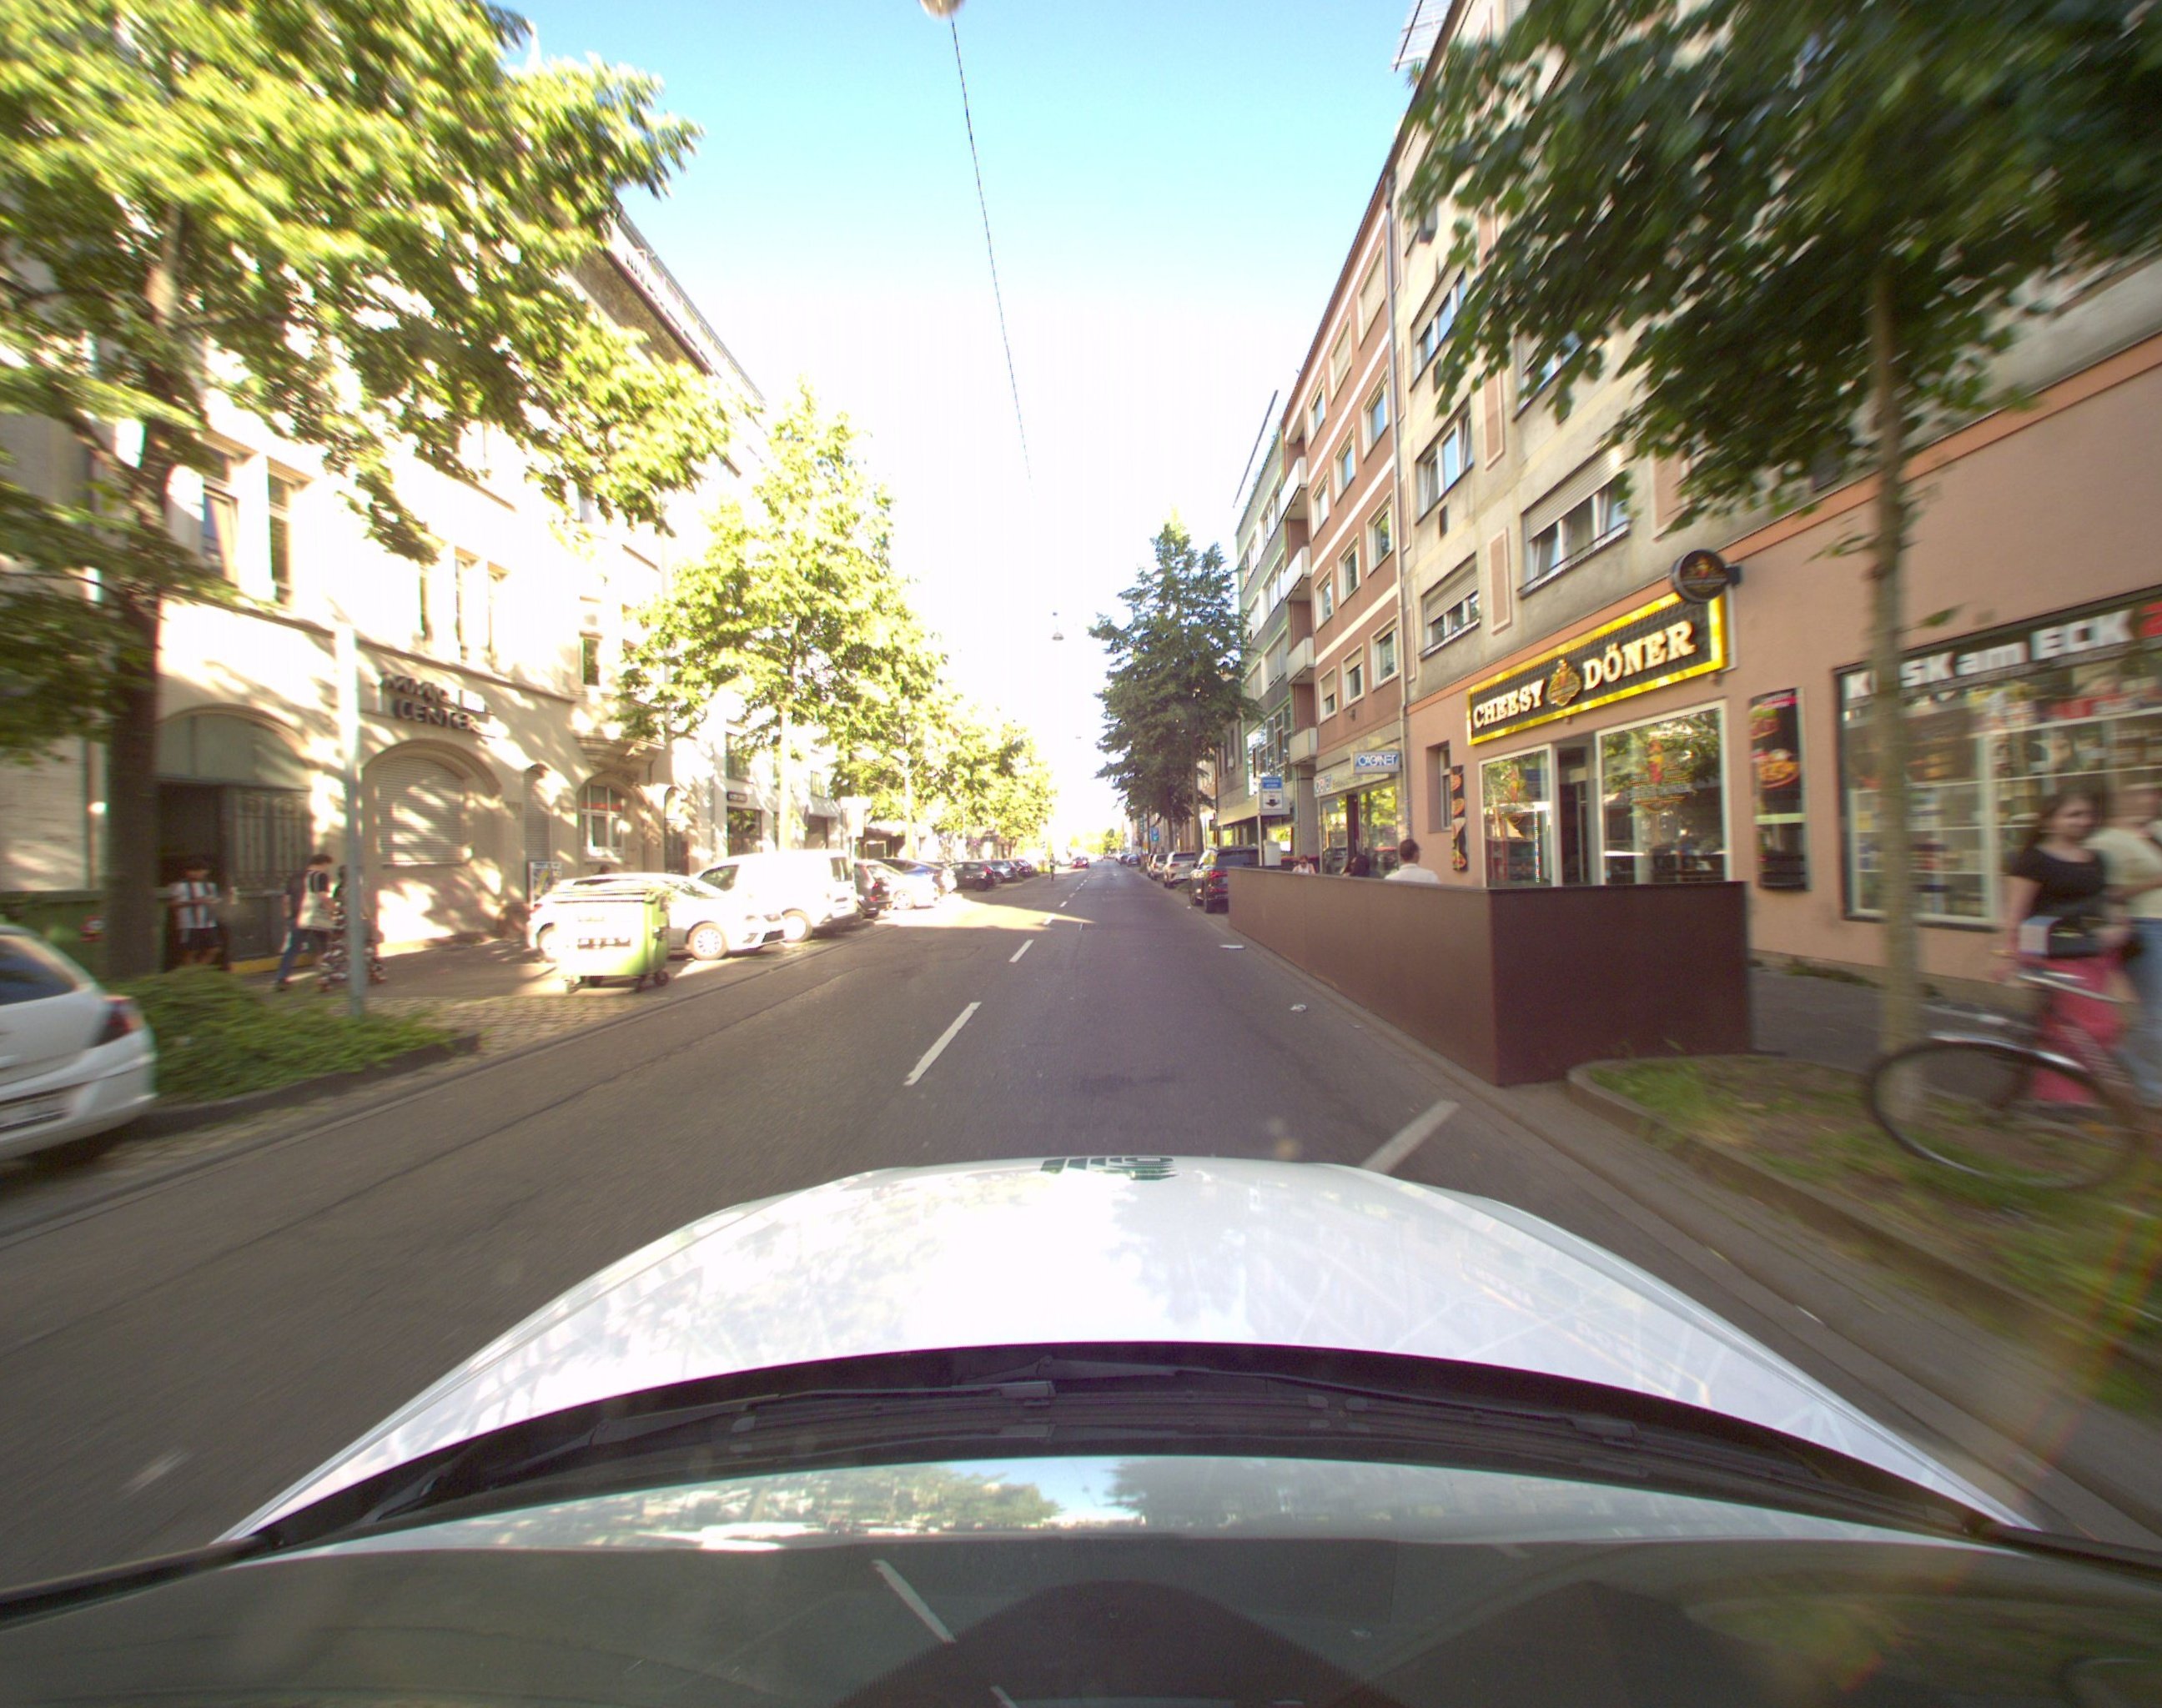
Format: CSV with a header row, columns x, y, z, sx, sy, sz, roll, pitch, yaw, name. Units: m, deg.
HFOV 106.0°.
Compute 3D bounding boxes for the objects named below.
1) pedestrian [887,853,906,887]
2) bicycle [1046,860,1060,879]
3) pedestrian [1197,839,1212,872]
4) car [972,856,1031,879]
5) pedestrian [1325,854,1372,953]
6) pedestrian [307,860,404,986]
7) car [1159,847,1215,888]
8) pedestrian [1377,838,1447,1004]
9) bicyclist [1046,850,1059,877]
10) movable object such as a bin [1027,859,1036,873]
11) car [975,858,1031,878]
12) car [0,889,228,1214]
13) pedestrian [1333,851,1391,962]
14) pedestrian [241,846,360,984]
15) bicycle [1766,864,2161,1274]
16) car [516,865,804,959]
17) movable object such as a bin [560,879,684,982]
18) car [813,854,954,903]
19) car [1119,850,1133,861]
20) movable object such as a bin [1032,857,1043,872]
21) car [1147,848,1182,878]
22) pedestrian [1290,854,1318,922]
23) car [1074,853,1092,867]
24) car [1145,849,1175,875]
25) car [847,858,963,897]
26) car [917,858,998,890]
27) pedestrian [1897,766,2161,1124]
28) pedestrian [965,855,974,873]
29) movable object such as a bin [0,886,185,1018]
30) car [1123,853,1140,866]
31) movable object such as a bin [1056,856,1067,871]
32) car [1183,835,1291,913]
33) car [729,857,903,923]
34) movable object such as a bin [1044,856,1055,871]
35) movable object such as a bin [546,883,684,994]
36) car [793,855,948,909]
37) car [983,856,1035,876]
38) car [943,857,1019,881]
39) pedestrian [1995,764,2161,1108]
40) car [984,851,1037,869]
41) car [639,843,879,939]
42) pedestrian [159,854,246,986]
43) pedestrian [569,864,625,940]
x,y,z,sx,sy,sz,roll,pitch,yaw,name
-9.782,0.844,43.157,0.694,1.797,0.748,-1,0,13,pedestrian
-1.841,0.991,53.480,0.722,1.169,2.198,-2,0,2,bicycle
6.850,0.082,45.205,0.620,1.765,0.771,-4,-1,3,pedestrian
-5.534,0.928,57.102,3.903,1.485,1.772,-1,0,3,car
3.776,0.684,11.525,0.471,1.362,0.595,-1,-1,2,pedestrian
-9.803,0.910,11.031,0.563,1.627,0.727,3,-1,0,pedestrian
4.494,0.557,35.125,1.876,1.527,4.235,-4,0,1,car
3.136,0.623,7.750,0.471,1.529,0.462,-1,-1,2,pedestrian
-1.851,0.627,53.401,0.722,1.700,1.283,-2,0,2,bicyclist
-4.699,1.159,77.288,0.752,1.341,0.805,-2,0,0,movable object such as a bin
-5.655,1.023,59.675,3.825,1.429,1.791,-1,0,3,car
-6.910,0.959,3.896,3.767,1.464,1.709,-1,0,-2,car
3.598,0.656,10.462,0.550,1.379,0.595,-1,-1,2,pedestrian
-10.548,0.801,11.036,0.772,1.766,0.763,3,-1,0,pedestrian
3.393,0.636,2.659,0.505,1.163,2.145,-2,0,1,bicycle
-7.120,0.953,14.084,3.964,1.464,1.888,-1,0,2,car
-6.423,1.048,11.465,1.188,1.345,0.932,-1,0,1,movable object such as a bin
-6.786,0.831,28.297,4.349,1.570,1.981,-1,0,2,car
6.797,0.200,122.965,1.966,1.725,4.826,0,0,2,car
-4.489,1.081,84.291,0.960,1.471,1.143,-2,-1,0,movable object such as a bin
4.827,0.506,47.641,1.608,1.528,4.235,-5,0,1,car
4.454,0.663,16.259,0.468,1.331,0.485,-1,-1,21,pedestrian
0.276,0.732,98.031,1.649,1.535,3.768,-3,0,7,car
5.154,0.523,53.443,1.608,1.529,3.061,-3,0,1,car
-7.040,0.926,32.946,4.234,1.458,1.979,-1,0,-2,car
-5.953,0.944,39.639,3.775,1.458,1.777,-1,0,-6,car
4.860,0.423,4.176,0.512,1.645,0.748,-3,0,1,pedestrian
-9.110,0.799,66.418,0.505,1.408,0.826,0,0,6,pedestrian
-11.543,1.095,9.488,0.818,1.397,1.228,-1,-1,4,movable object such as a bin
6.419,0.715,103.375,1.910,1.478,4.967,-5,0,2,car
-1.977,0.974,84.211,1.038,1.471,1.452,-2,0,1,movable object such as a bin
3.983,0.473,21.576,1.986,1.689,4.517,-5,0,1,car
-6.706,0.893,20.877,3.785,1.558,1.792,-1,0,2,car
-3.224,0.975,84.086,1.038,1.471,1.143,-2,0,0,movable object such as a bin
-5.944,1.056,10.460,1.233,1.302,0.870,-2,0,0,movable object such as a bin
-6.602,0.865,25.910,4.349,1.570,1.947,-1,0,2,car
-5.458,0.894,62.204,3.734,1.468,1.740,-1,0,1,car
-6.158,0.934,50.462,4.478,1.459,1.790,0,0,0,car
5.459,0.379,4.169,0.639,1.645,0.748,-3,0,0,pedestrian
-5.987,0.483,69.523,4.184,1.468,1.741,-1,0,3,car
-6.528,0.723,16.860,4.090,1.836,2.039,-1,0,2,car
-11.539,0.846,10.707,0.431,1.672,0.639,-1,-1,4,pedestrian
-9.872,0.957,16.638,0.590,1.494,0.843,1,0,3,pedestrian
